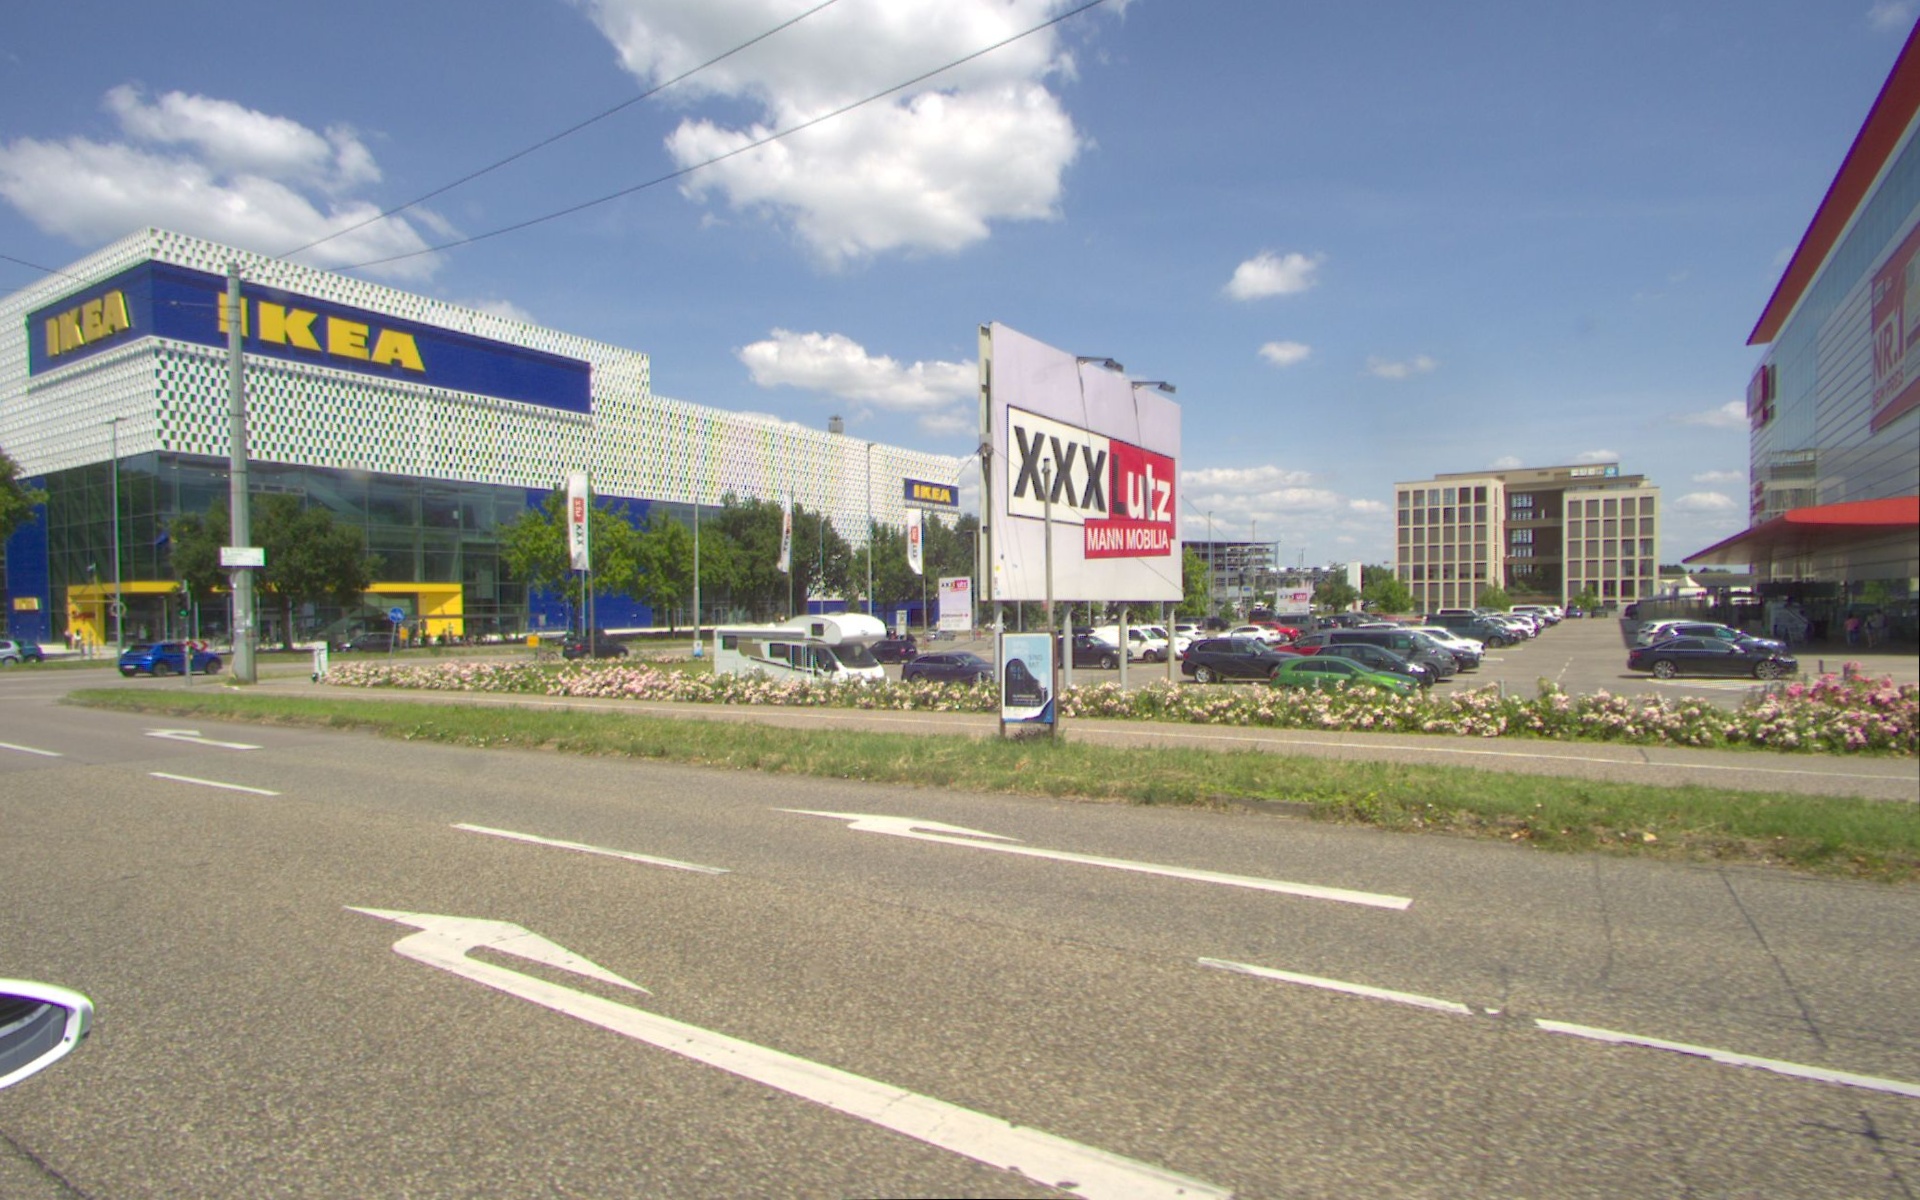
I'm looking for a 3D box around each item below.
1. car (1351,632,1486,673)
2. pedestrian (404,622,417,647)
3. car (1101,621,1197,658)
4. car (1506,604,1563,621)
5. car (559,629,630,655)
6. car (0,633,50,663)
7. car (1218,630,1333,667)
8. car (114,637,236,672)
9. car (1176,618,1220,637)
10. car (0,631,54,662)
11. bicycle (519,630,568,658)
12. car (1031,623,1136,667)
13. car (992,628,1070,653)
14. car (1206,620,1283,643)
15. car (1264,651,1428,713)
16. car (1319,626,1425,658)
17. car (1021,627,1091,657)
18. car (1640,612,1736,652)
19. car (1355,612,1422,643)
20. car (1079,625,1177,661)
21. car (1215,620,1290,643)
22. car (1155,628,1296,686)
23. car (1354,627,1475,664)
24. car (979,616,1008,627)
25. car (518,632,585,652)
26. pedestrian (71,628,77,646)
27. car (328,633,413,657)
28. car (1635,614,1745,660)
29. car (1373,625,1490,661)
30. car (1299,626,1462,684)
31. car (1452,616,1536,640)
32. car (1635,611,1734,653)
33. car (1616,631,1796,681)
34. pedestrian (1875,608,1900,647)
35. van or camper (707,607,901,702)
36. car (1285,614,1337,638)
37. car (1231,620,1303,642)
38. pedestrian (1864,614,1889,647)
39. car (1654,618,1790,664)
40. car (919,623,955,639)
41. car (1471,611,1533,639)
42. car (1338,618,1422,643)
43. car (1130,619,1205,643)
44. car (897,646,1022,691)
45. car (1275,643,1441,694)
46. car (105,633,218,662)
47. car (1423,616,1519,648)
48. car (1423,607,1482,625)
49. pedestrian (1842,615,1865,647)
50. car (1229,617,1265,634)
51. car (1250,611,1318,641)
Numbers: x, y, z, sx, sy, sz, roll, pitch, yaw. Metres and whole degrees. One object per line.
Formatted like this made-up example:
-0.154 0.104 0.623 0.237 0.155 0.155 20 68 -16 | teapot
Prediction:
19.167 2.169 41.963 4.930 1.631 1.990 -1 -2 33 | car
-46.251 2.907 84.309 0.813 2.039 0.709 -1 -1 35 | pedestrian
10.688 2.217 56.760 4.930 2.033 1.990 -1 -2 33 | car
58.231 1.251 101.474 4.930 1.631 1.990 -1 -2 33 | car
-23.330 2.638 63.977 1.741 1.546 4.079 -1 -1 31 | car
-49.358 2.429 51.287 1.974 1.505 3.779 -1 -3 36 | car
15.040 2.296 47.825 4.930 1.632 1.989 -1 0 33 | car
-34.758 2.387 44.463 1.809 1.473 3.999 0 -2 13 | car
23.948 2.737 100.768 3.943 1.863 1.819 -2 -1 32 | car
-47.216 2.243 48.609 1.974 1.505 4.485 -1 -3 36 | car
-23.416 2.471 56.291 0.976 1.500 2.415 -1 -1 37 | bicycle
6.221 2.251 50.719 4.930 2.162 1.990 -1 -2 33 | car
4.869 2.781 68.897 5.084 1.631 1.990 -1 -2 33 | car
20.173 2.230 71.067 4.930 1.631 1.990 -1 -2 33 | car
11.429 2.363 29.690 4.242 1.517 1.988 -1 2 33 | car
21.737 2.204 52.856 4.928 1.631 1.990 -1 -2 32 | car
6.053 2.634 63.031 3.936 1.839 1.993 -1 -1 26 | car
38.407 1.699 52.956 3.943 2.039 1.990 -2 -1 32 | car
29.278 1.890 68.424 3.943 2.039 1.990 -1 -1 32 | car
9.147 2.335 54.686 4.930 1.876 1.990 -1 -2 33 | car
21.359 2.319 73.107 4.930 1.631 1.990 -1 -2 33 | car
10.274 2.155 38.930 4.930 2.040 1.989 -1 1 33 | car
21.062 2.103 46.471 4.930 1.631 1.990 -1 -2 33 | car
4.726 3.071 141.188 1.974 1.505 4.485 -1 -3 36 | car
-31.960 3.302 78.386 1.974 1.505 4.485 -1 -3 36 | car
-70.922 2.958 80.114 0.263 1.359 0.288 -1 -1 32 | pedestrian
-39.486 2.996 67.165 1.974 1.505 4.484 -1 -2 36 | car
33.721 1.717 46.419 3.943 2.039 1.990 -2 -1 32 | car
22.855 2.066 48.634 4.930 1.671 1.990 -1 -2 33 | car
15.882 2.035 37.974 5.456 2.039 1.990 -1 -2 33 | car
36.678 1.949 68.832 4.930 1.631 1.990 -1 -2 33 | car
36.750 1.624 50.916 3.943 2.039 1.990 -1 -2 32 | car
26.242 1.940 35.487 4.930 1.631 1.990 -1 -2 33 | car
45.475 1.364 49.122 0.725 1.893 0.739 -1 -1 30 | pedestrian
-5.618 1.863 35.410 7.130 3.059 2.499 -1 -2 36 | van or camper
30.579 2.302 87.360 3.943 2.039 1.990 -2 -1 32 | car
23.755 2.384 77.533 4.930 1.631 1.990 -1 -2 33 | car
44.425 1.477 48.560 0.725 1.577 0.739 -1 -1 30 | pedestrian
31.408 1.712 41.465 4.272 1.804 1.990 -1 -3 33 | car
-2.331 3.162 101.081 1.741 1.546 4.079 -1 -1 31 | car
40.804 1.909 75.373 3.943 2.039 1.990 -2 -1 32 | car
27.833 2.039 66.417 4.930 1.631 1.990 -1 -2 33 | car
14.753 2.198 71.329 4.922 1.631 1.993 -1 -2 27 | car
-0.046 2.697 40.028 4.702 1.558 1.989 -1 0 33 | car
13.416 2.246 33.855 4.930 1.570 1.990 -1 -2 33 | car
-43.534 2.585 54.697 1.974 1.505 4.485 -1 -3 36 | car
30.935 1.928 60.646 5.106 1.889 1.991 -1 -2 31 | car
47.523 1.538 96.632 4.930 1.631 1.990 -1 -2 33 | car
44.385 1.532 49.754 0.725 1.577 0.739 -1 -1 30 | pedestrian
36.616 3.255 127.842 4.068 2.038 1.480 2 -3 33 | car
26.416 2.136 81.613 4.930 2.333 1.990 -1 -1 33 | car
